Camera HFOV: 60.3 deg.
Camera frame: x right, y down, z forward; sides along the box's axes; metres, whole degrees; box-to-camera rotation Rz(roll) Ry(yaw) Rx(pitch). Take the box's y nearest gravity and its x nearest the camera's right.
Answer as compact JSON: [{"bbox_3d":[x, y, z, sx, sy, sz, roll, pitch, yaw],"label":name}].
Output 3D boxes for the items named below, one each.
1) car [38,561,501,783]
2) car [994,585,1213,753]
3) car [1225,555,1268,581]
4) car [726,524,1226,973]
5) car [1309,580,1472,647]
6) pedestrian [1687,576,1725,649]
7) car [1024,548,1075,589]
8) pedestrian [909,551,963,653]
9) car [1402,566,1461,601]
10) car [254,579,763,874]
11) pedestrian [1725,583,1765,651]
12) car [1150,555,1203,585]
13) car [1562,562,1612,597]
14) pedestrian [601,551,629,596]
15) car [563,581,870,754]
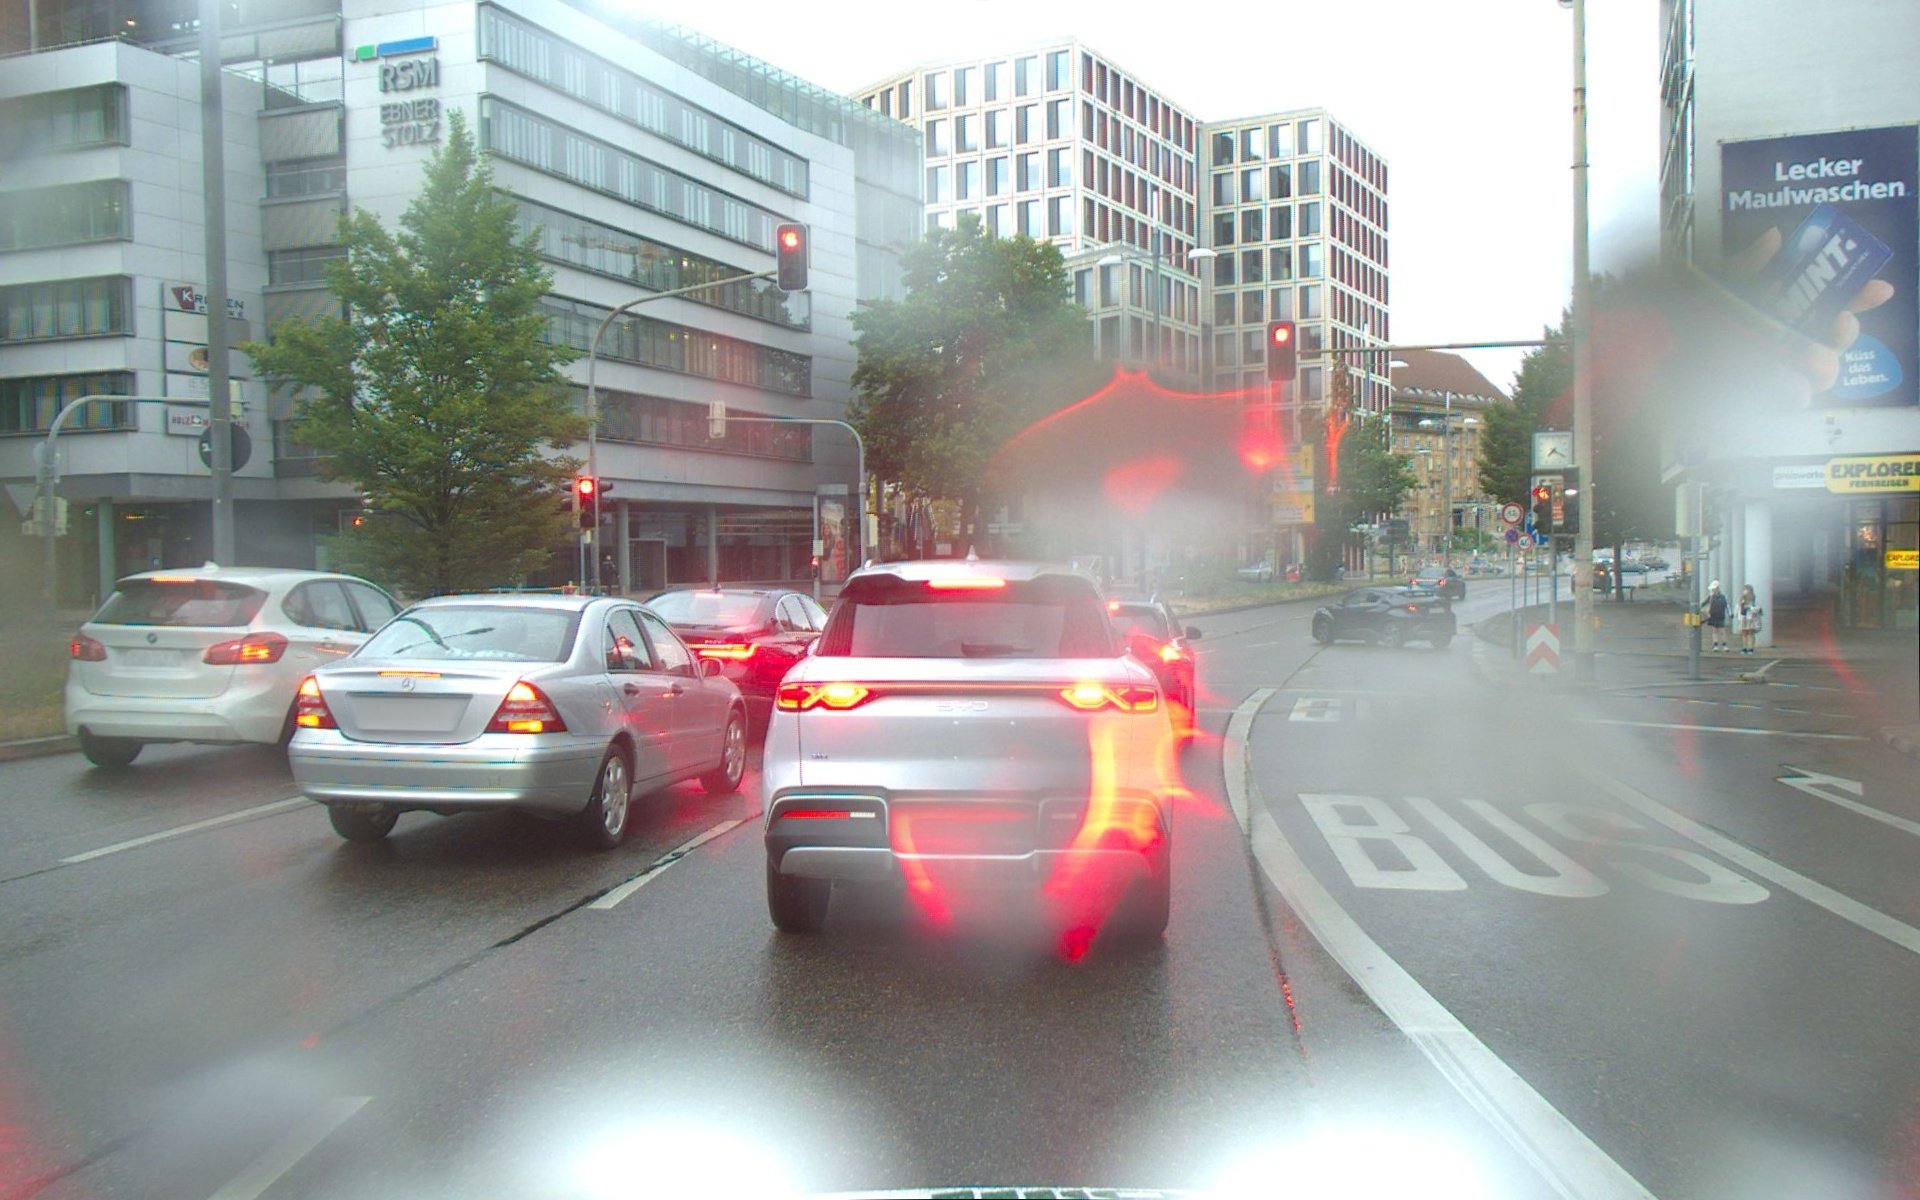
[{"bbox_3d":[-5.644,0.495,14.196,1.745,1.601,4.291,0,1,7],"label":"car"},{"bbox_3d":[1.645,0.622,17.586,1.913,1.556,4.004,0,1,11],"label":"car"},{"bbox_3d":[21.017,-2.364,121.296,1.955,1.735,4.305,1,3,27],"label":"car"},{"bbox_3d":[0.215,0.549,8.704,1.951,1.739,4.485,0,1,4],"label":"car"},{"bbox_3d":[10.965,0.322,42.371,1.968,1.579,3.969,1,1,-25],"label":"car"},{"bbox_3d":[17.610,0.288,39.052,0.712,1.698,0.691,0,0,16],"label":"pedestrian"},{"bbox_3d":[5.015,-1.736,92.150,1.701,2.199,4.496,1,1,18],"label":"car"},{"bbox_3d":[-0.437,0.028,29.326,0.904,1.768,0.729,0,0,-5],"label":"pedestrian"},{"bbox_3d":[21.381,-0.756,74.840,1.872,1.536,4.353,1,1,25],"label":"car"},{"bbox_3d":[-2.612,0.626,10.681,1.646,1.512,4.200,0,1,8],"label":"car"},{"bbox_3d":[18.254,0.388,38.455,0.712,1.551,0.760,0,0,16],"label":"pedestrian"},{"bbox_3d":[13.308,-1.859,101.503,1.956,1.735,3.994,1,3,29],"label":"car"},{"bbox_3d":[33.068,-1.072,87.203,2.007,1.796,4.352,1,1,26],"label":"car"},{"bbox_3d":[-13.502,-1.038,64.717,0.712,1.757,0.925,0,0,22],"label":"pedestrian"},{"bbox_3d":[-2.350,0.588,17.079,1.913,1.556,4.004,0,1,11],"label":"car"}]
